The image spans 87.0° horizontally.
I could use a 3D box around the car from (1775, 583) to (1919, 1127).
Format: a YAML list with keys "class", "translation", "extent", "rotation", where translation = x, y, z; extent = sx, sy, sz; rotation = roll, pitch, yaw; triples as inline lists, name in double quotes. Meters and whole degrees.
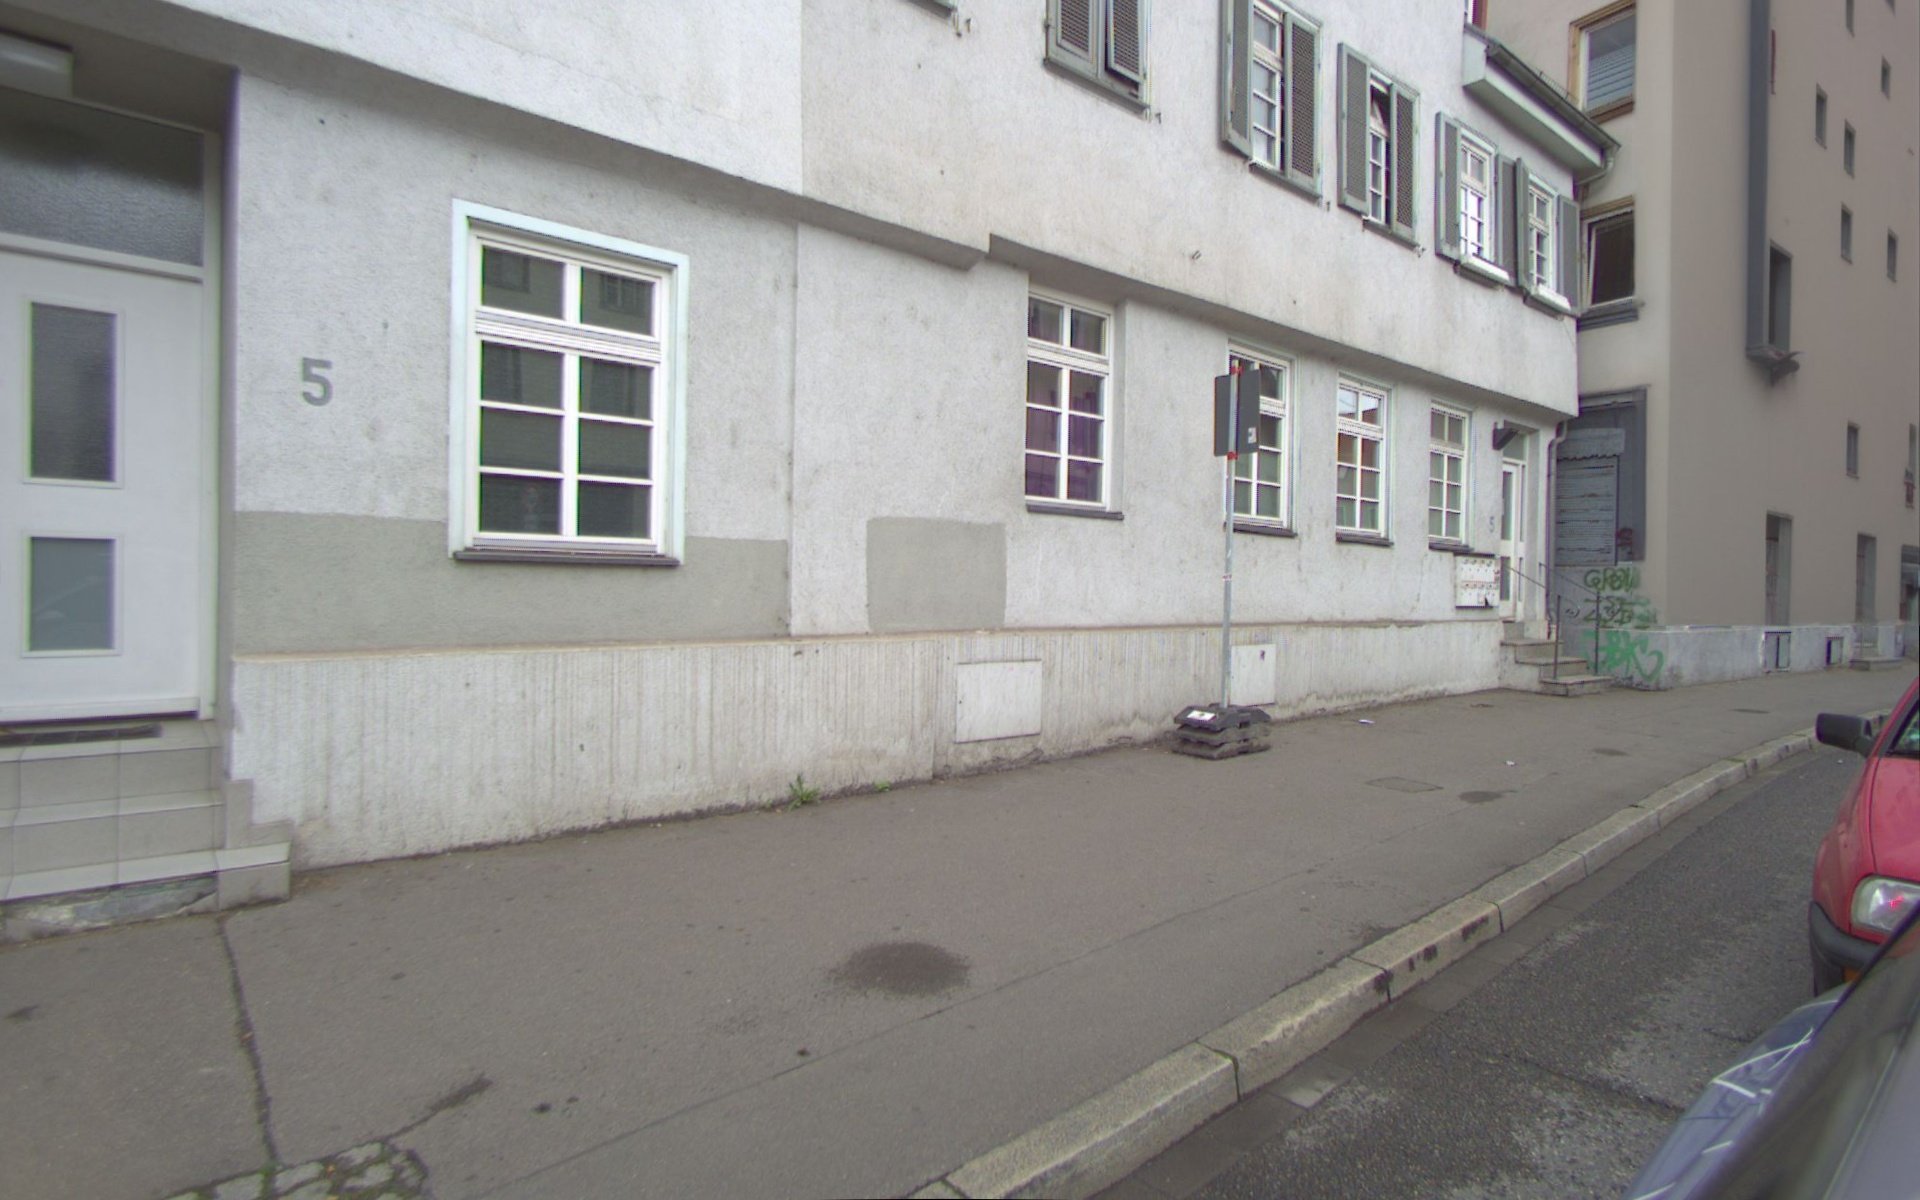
- class: "car"
  translation: [4.435, 0.668, 3.493]
  extent: [3.928, 1.443, 1.792]
  rotation: [-1, 1, -40]
